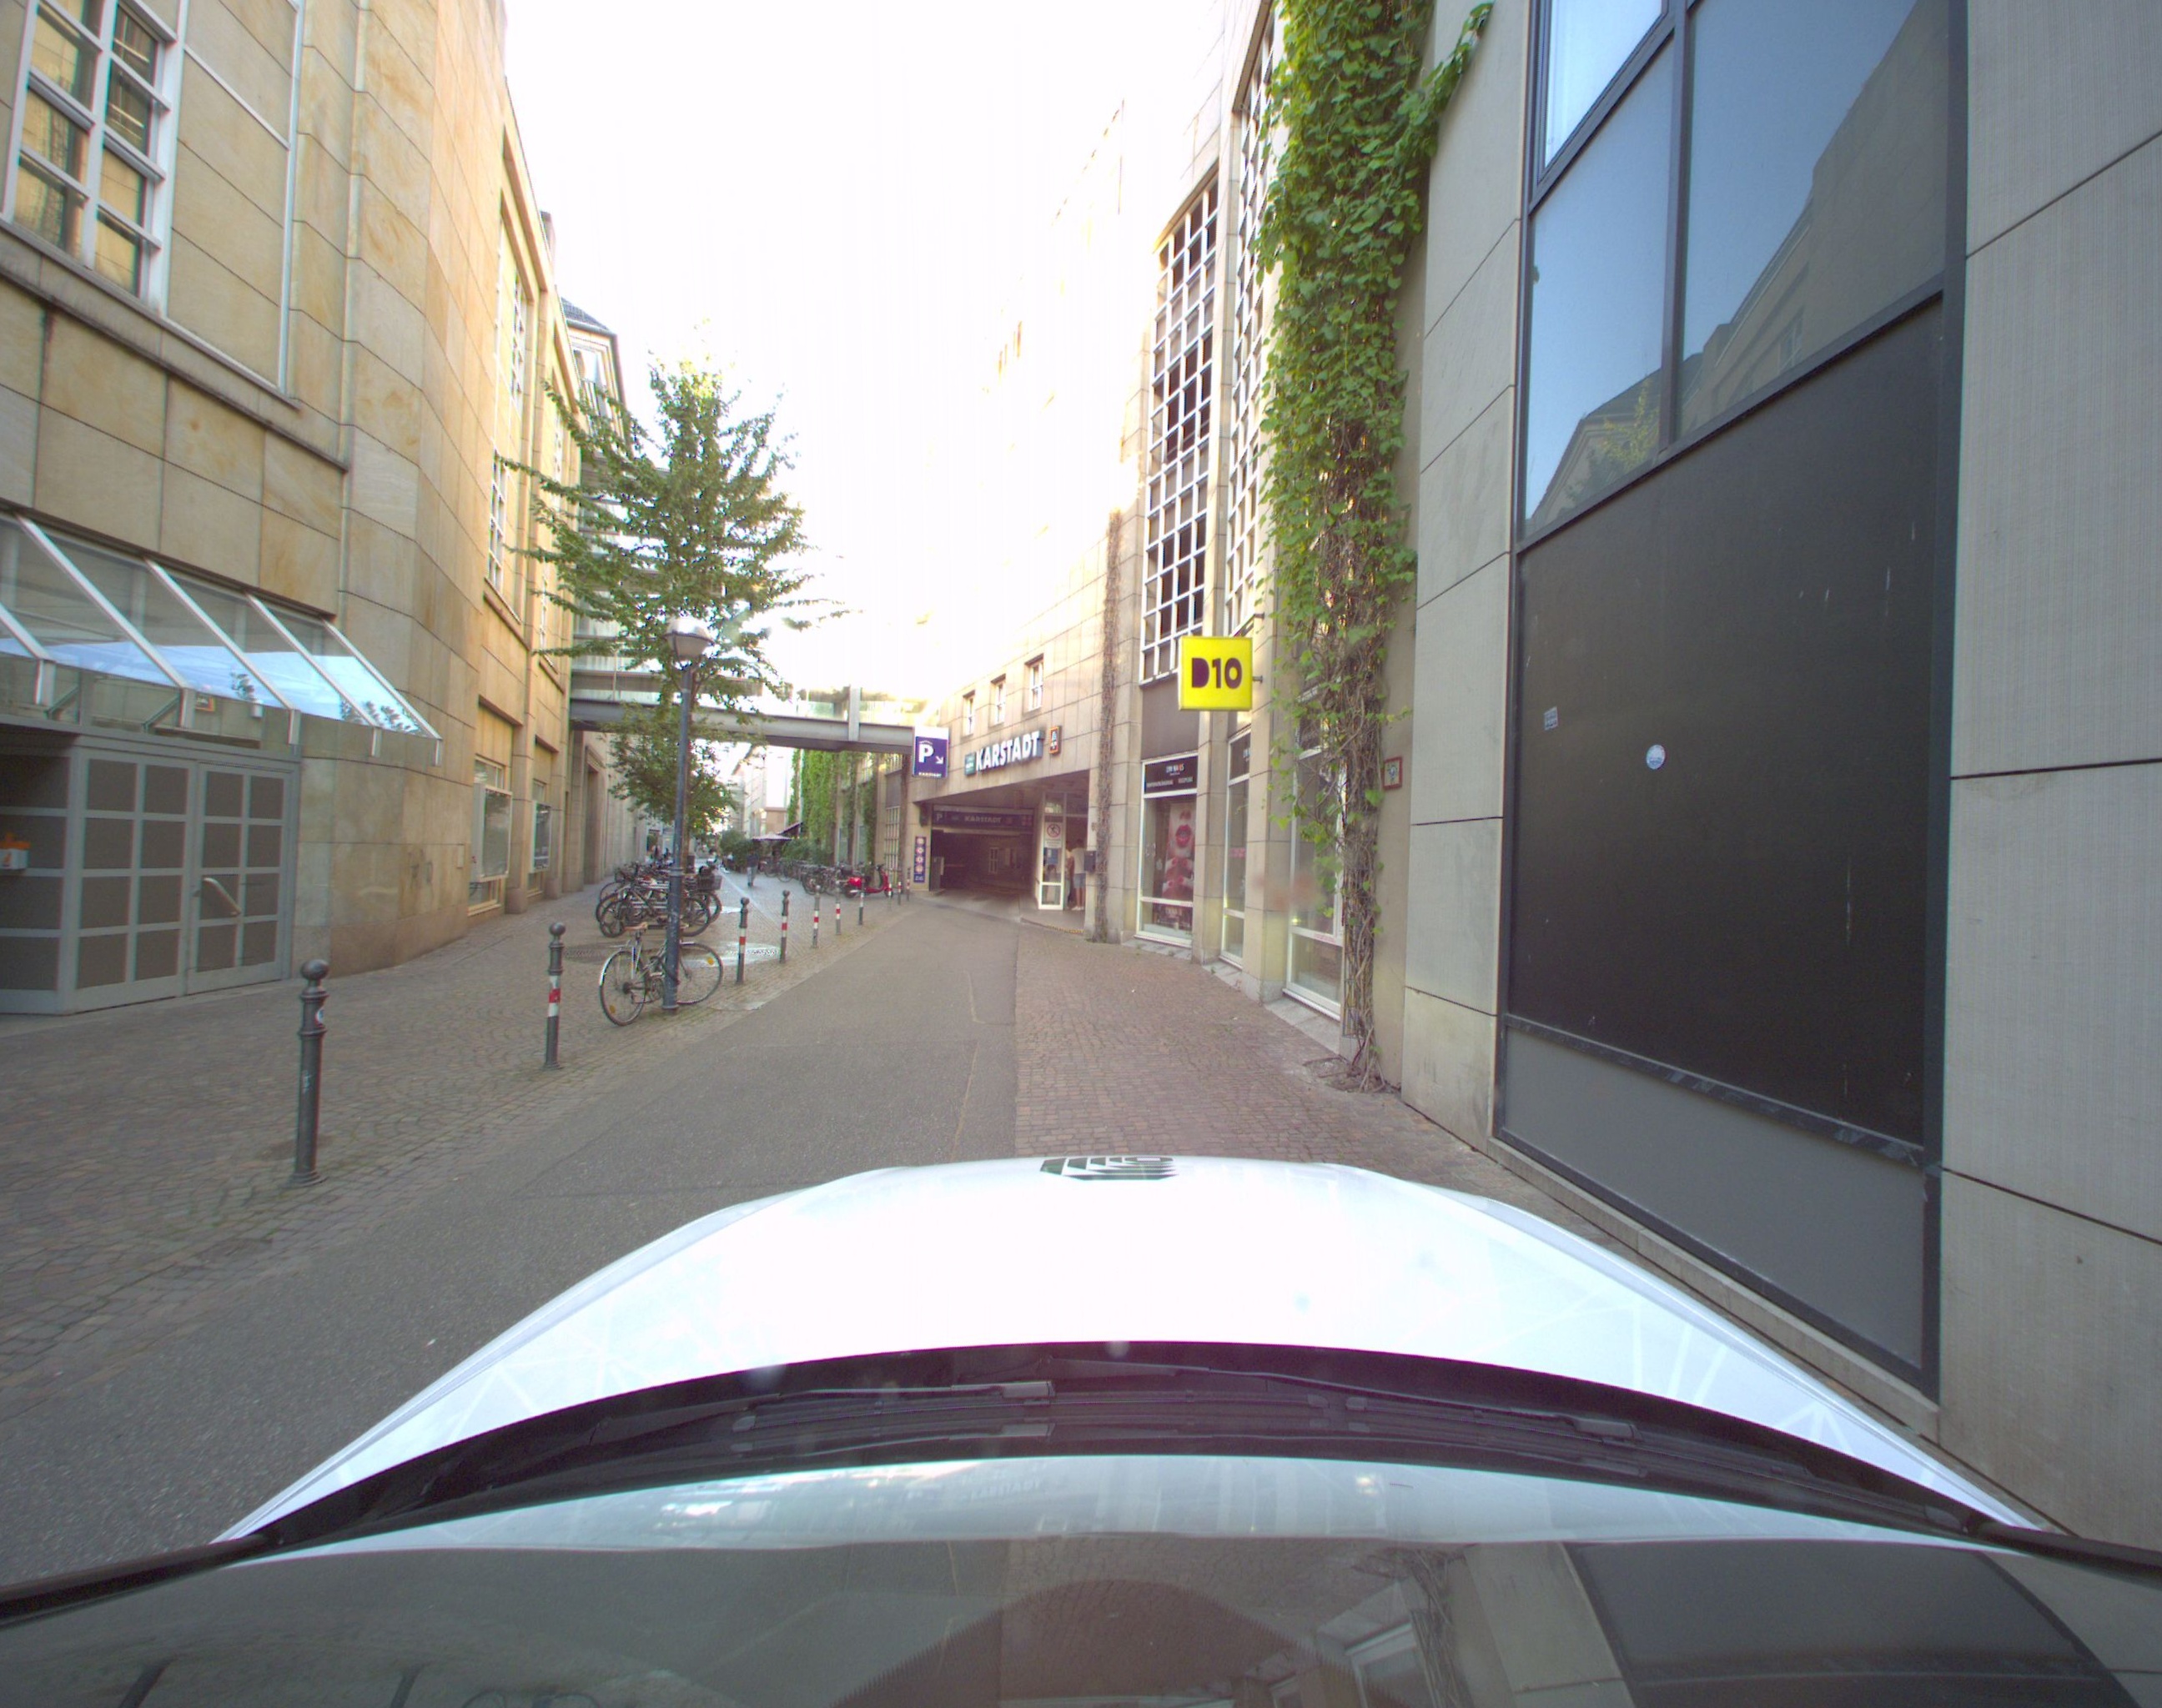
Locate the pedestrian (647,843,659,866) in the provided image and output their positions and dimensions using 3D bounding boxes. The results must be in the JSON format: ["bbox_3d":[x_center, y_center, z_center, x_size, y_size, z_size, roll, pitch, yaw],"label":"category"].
[{"bbox_3d":[-33.473,0.049,63.736,0.778,1.804,0.629,2,-1,-26],"label":"pedestrian"}]

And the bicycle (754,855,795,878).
[{"bbox_3d":[-16.424,0.649,43.666,2.003,1.182,0.688,0,0,-24],"label":"bicycle"}]

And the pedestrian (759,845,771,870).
[{"bbox_3d":[-23.740,0.253,61.185,0.778,1.804,0.761,2,-1,-26],"label":"pedestrian"}]

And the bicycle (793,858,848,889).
[{"bbox_3d":[-10.231,0.753,32.012,2.003,1.182,0.796,0,0,-24],"label":"bicycle"}]

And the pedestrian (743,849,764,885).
[{"bbox_3d":[-14.026,0.571,34.830,0.752,1.509,0.632,2,-1,-27],"label":"pedestrian"}]

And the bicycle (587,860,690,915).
[{"bbox_3d":[-9.861,0.758,18.230,1.920,1.182,0.691,2,-1,-22],"label":"bicycle"}]

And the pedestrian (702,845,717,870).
[{"bbox_3d":[-25.653,0.240,56.239,0.896,1.639,0.904,2,-1,-26],"label":"pedestrian"}]

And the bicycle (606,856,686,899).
[{"bbox_3d":[-12.494,0.683,23.471,1.920,1.182,0.691,2,-1,-22],"label":"bicycle"}]

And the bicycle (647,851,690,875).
[{"bbox_3d":[-21.554,0.479,42.574,1.920,1.182,0.691,2,-1,-22],"label":"bicycle"}]

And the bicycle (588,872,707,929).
[{"bbox_3d":[-8.135,0.873,15.378,1.922,0.994,0.690,2,0,-25],"label":"bicycle"}]

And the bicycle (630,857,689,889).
[{"bbox_3d":[-16.293,0.720,31.528,1.920,1.182,0.691,2,-1,-22],"label":"bicycle"}]

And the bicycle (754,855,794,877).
[{"bbox_3d":[-16.761,0.629,44.447,2.003,1.182,0.688,0,0,-24],"label":"bicycle"}]

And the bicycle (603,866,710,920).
[{"bbox_3d":[-9.028,0.835,17.405,1.920,1.101,0.691,2,0,-22],"label":"bicycle"}]

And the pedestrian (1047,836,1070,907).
[{"bbox_3d":[-0.597,0.462,21.697,0.540,1.846,0.408,2,0,1],"label":"pedestrian"}]

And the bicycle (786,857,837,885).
[{"bbox_3d":[-11.578,0.716,35.001,2.003,1.182,0.688,0,0,-24],"label":"bicycle"}]

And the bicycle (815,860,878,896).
[{"bbox_3d":[-8.027,0.810,27.880,2.003,1.182,0.690,0,0,-24],"label":"bicycle"}]

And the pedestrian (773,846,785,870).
[{"bbox_3d":[-22.734,0.285,61.319,0.778,1.804,0.761,2,-1,-26],"label":"pedestrian"}]

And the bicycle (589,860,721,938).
[{"bbox_3d":[-7.283,0.756,14.042,1.922,1.261,0.802,2,-1,-25],"label":"bicycle"}]

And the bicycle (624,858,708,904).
[{"bbox_3d":[-11.080,0.725,21.819,1.920,1.182,0.691,2,-1,-22],"label":"bicycle"}]

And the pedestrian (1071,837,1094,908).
[{"bbox_3d":[0.051,0.485,21.538,0.540,1.861,0.408,2,0,1],"label":"pedestrian"}]

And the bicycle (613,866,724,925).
[{"bbox_3d":[-8.204,0.828,16.293,1.922,1.101,0.690,2,-1,-25],"label":"bicycle"}]

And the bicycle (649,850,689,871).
[{"bbox_3d":[-23.461,0.374,46.380,1.920,1.182,0.691,2,-1,-22],"label":"bicycle"}]

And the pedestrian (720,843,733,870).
[{"bbox_3d":[-24.563,0.182,56.466,0.769,1.804,0.770,2,-1,-26],"label":"pedestrian"}]

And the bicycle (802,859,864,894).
[{"bbox_3d":[-8.734,0.778,28.675,2.003,1.182,0.690,0,0,-24],"label":"bicycle"}]

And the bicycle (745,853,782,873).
[{"bbox_3d":[-18.992,0.507,48.738,2.003,1.182,0.688,0,0,-24],"label":"bicycle"}]

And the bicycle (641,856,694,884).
[{"bbox_3d":[-17.776,0.688,35.044,1.920,1.182,0.691,2,-1,-22],"label":"bicycle"}]

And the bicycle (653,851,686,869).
[{"bbox_3d":[-28.076,0.414,55.630,1.920,1.182,0.691,2,-1,-22],"label":"bicycle"}]

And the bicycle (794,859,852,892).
[{"bbox_3d":[-9.681,0.787,30.606,2.003,1.182,0.796,0,0,-24],"label":"bicycle"}]

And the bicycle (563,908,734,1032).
[{"bbox_3d":[-4.148,1.064,7.971,0.502,0.966,1.699,1,0,10],"label":"bicycle"}]

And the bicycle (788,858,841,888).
[{"bbox_3d":[-11.061,0.779,33.810,2.003,1.182,0.688,0,0,-24],"label":"bicycle"}]

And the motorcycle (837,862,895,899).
[{"bbox_3d":[-6.933,0.853,26.304,1.753,1.155,0.590,0,0,-22],"label":"motorcycle"}]

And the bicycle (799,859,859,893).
[{"bbox_3d":[-9.141,0.793,29.520,2.003,1.182,0.796,0,0,-24],"label":"bicycle"}]

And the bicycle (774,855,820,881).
[{"bbox_3d":[-13.342,0.663,38.278,2.003,1.182,0.688,0,0,-24],"label":"bicycle"}]

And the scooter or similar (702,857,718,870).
[{"bbox_3d":[-25.244,0.637,55.406,0.896,0.843,0.904,2,0,-26],"label":"scooter or similar"}]

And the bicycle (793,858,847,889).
[{"bbox_3d":[-10.567,0.772,32.971,2.003,1.182,0.688,0,0,-24],"label":"bicycle"}]

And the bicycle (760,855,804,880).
[{"bbox_3d":[-14.657,0.650,39.974,2.003,1.182,0.688,0,0,-24],"label":"bicycle"}]

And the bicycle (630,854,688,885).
[{"bbox_3d":[-16.714,0.613,32.298,1.920,1.182,0.691,2,-1,-22],"label":"bicycle"}]

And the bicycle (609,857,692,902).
[{"bbox_3d":[-11.848,0.703,22.487,1.920,1.182,0.691,2,-1,-22],"label":"bicycle"}]

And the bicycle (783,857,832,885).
[{"bbox_3d":[-12.106,0.729,36.028,2.003,1.182,0.688,0,0,-24],"label":"bicycle"}]
